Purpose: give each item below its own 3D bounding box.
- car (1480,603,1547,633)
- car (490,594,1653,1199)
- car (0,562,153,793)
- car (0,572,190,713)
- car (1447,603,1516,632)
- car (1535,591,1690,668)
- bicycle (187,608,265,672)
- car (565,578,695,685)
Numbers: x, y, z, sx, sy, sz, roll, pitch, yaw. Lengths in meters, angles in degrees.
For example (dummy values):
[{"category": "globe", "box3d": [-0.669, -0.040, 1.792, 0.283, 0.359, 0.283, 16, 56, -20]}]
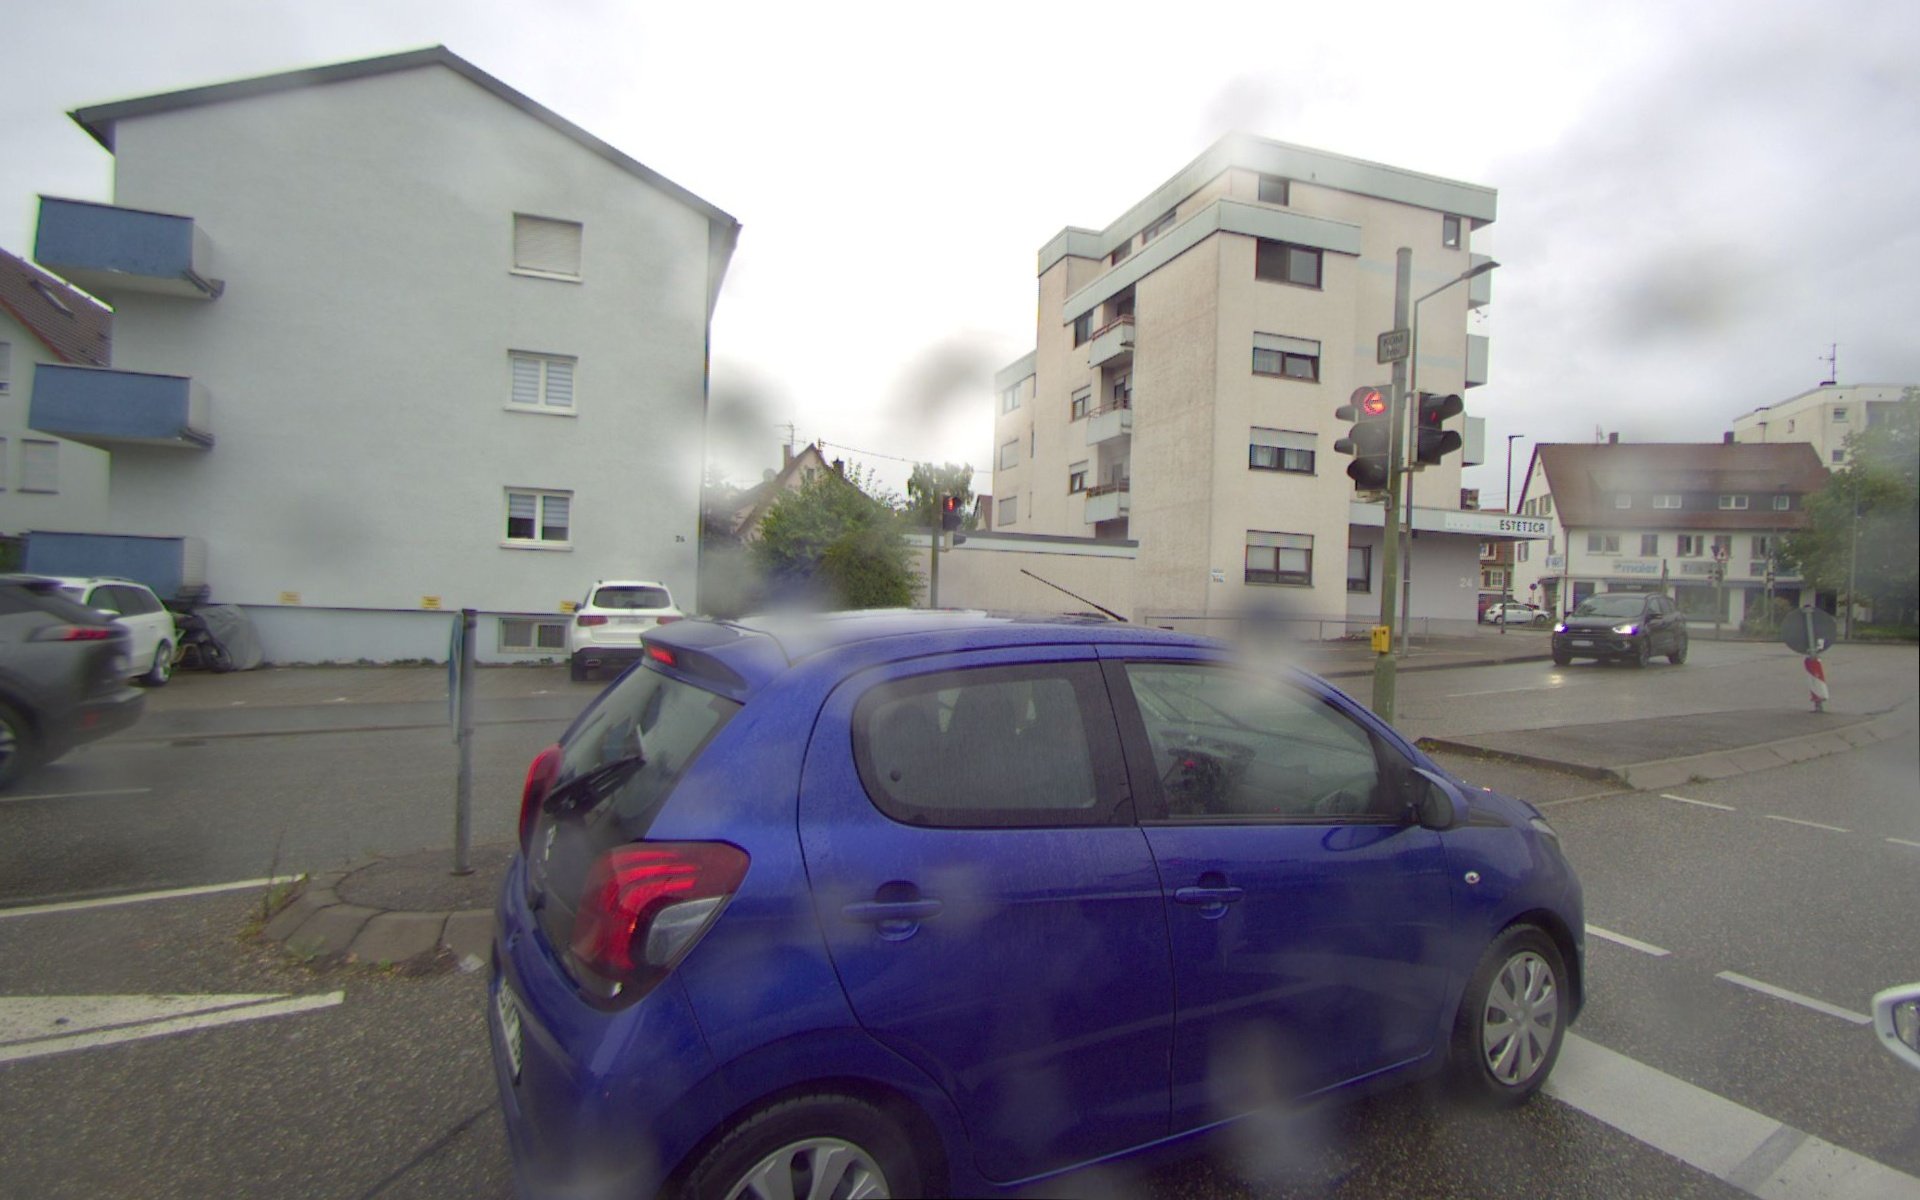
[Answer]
[{"category": "car", "box3d": [37.909, 1.228, 68.882, 3.611, 1.946, 1.889, 2, 0, 14]}, {"category": "car", "box3d": [0.450, 0.733, 3.091, 3.324, 1.432, 1.498, 1, 1, -30]}, {"category": "car", "box3d": [-8.002, 0.463, 6.654, 3.960, 1.532, 1.954, 2, 0, -35]}, {"category": "car", "box3d": [-11.498, 0.448, 12.497, 1.854, 1.480, 4.732, 1, -1, -23]}, {"category": "car", "box3d": [37.202, 1.233, 71.713, 3.987, 1.868, 1.889, 2, 0, 14]}, {"category": "car", "box3d": [15.294, 0.617, 23.478, 4.148, 1.619, 1.864, 0, 1, -39]}, {"category": "bicycle", "box3d": [-12.711, 0.680, 17.413, 1.053, 1.067, 0.345, 0, 1, -30]}, {"category": "car", "box3d": [-5.780, 0.502, 17.567, 1.884, 1.637, 3.983, 2, 0, -19]}]
